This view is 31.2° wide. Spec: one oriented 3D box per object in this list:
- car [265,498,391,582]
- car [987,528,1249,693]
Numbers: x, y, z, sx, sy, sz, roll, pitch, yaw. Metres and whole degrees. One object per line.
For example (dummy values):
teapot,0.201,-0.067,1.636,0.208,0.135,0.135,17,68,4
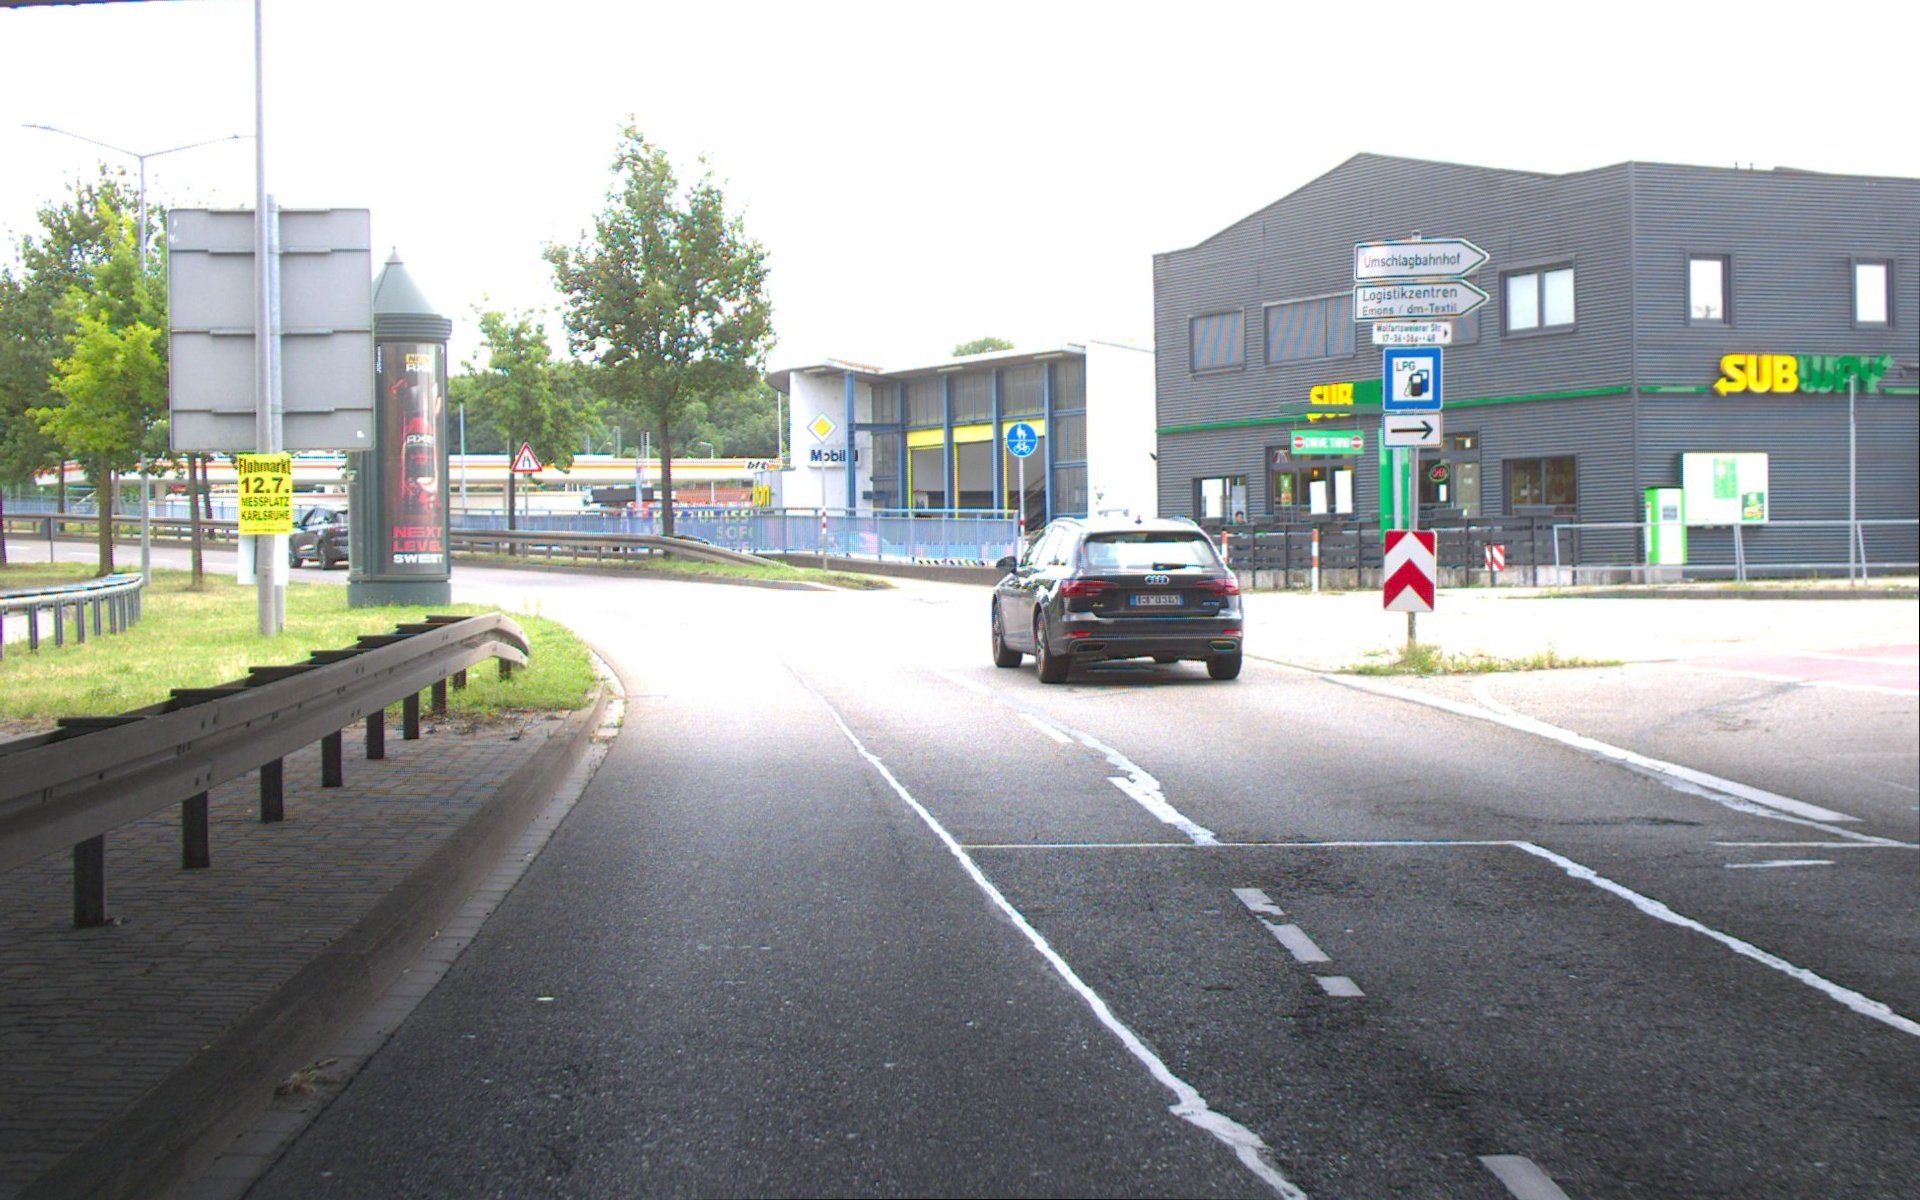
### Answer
car,-16.265,-1.521,88.296,1.993,2.030,4.713,-1,1,-25
car,1.371,0.041,31.669,1.993,1.386,4.576,0,1,-3
